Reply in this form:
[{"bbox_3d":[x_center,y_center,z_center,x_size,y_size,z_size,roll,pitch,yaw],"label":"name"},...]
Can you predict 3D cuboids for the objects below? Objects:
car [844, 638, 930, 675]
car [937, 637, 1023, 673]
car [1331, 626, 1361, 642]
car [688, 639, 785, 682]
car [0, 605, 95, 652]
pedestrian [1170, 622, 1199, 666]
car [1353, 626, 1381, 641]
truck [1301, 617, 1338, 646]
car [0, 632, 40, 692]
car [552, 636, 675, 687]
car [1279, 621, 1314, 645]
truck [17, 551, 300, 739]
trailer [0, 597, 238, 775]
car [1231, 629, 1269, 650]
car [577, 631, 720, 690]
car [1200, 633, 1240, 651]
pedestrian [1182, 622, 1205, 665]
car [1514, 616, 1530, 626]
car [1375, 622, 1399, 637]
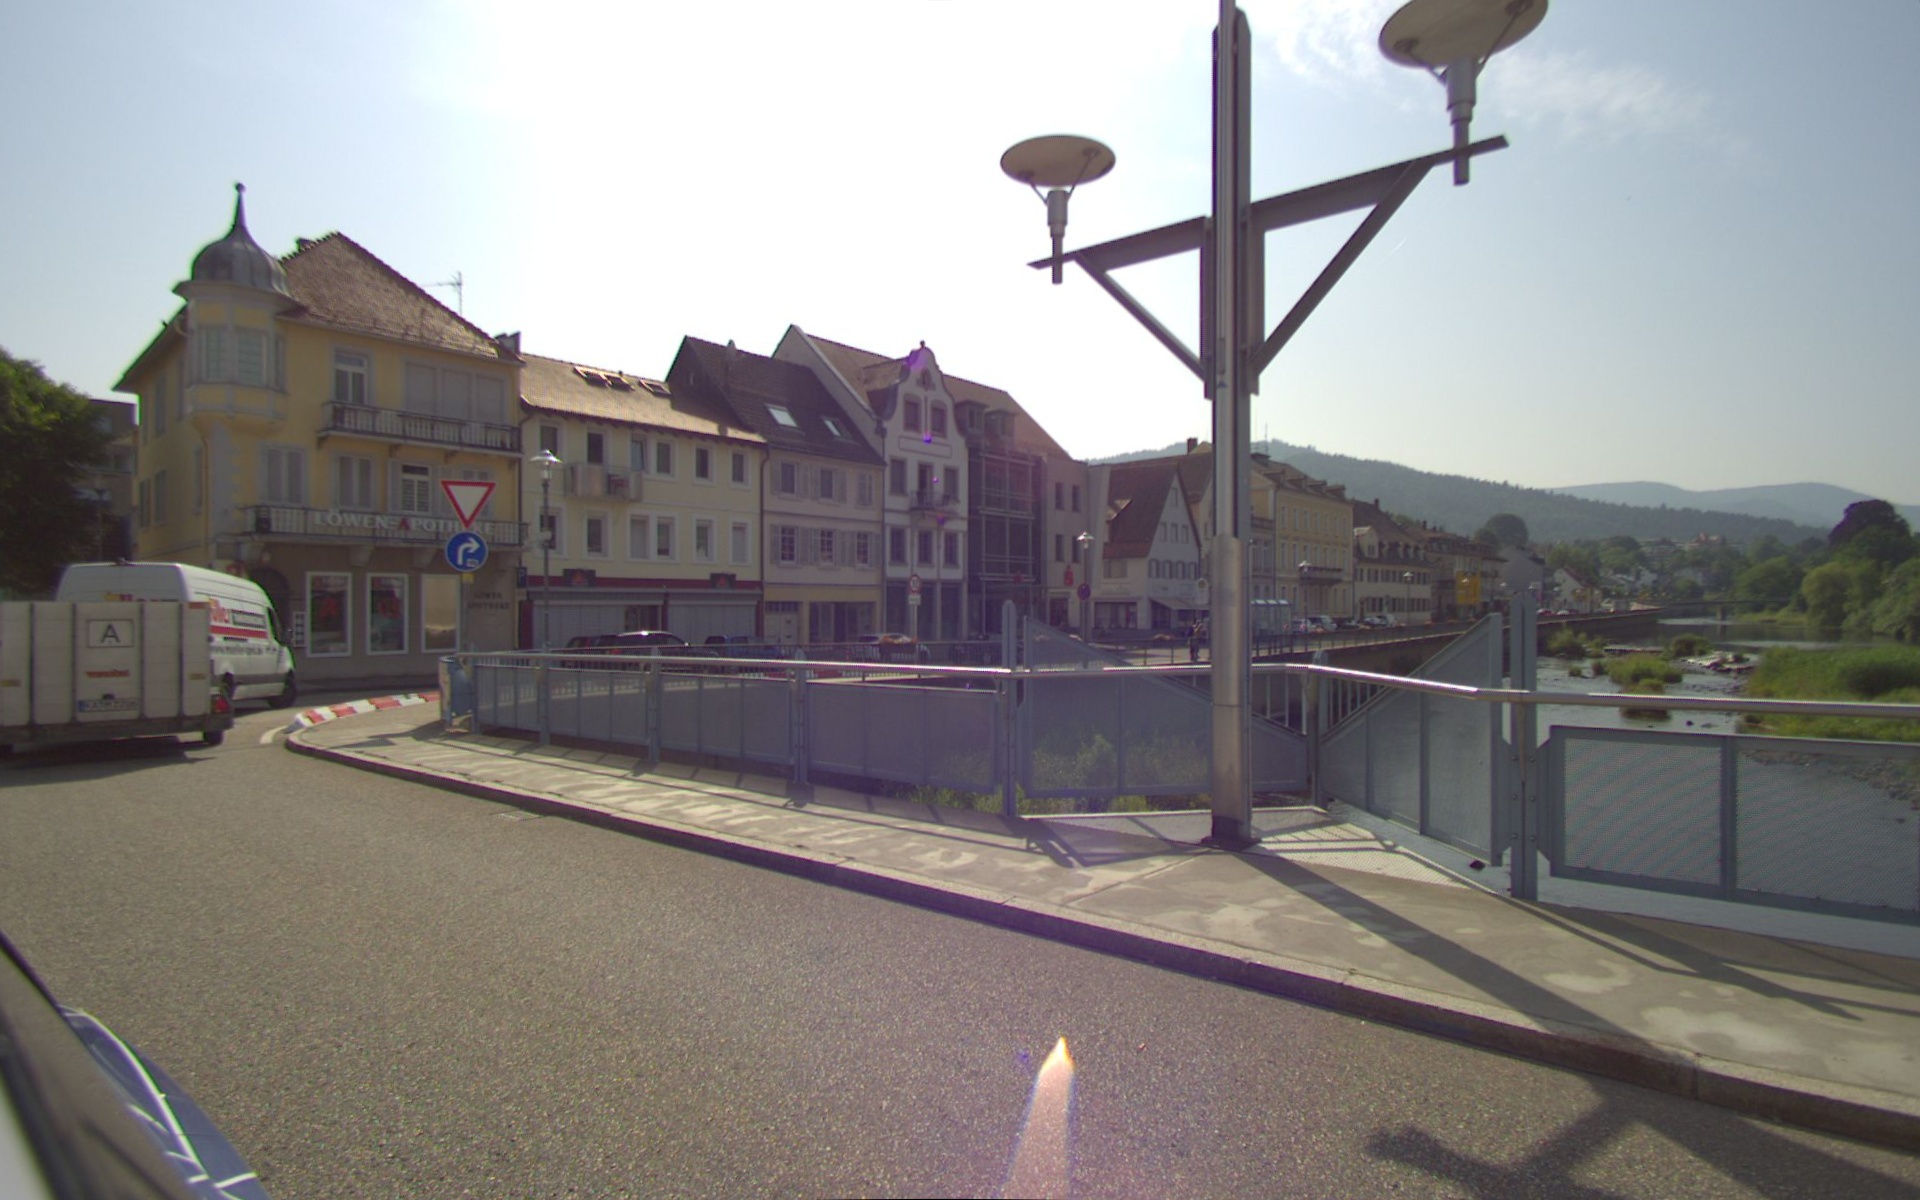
[{"bbox_3d":[-3.194,2.468,44.775,1.750,1.459,3.746,-2,-2,37],"label":"car"},{"bbox_3d":[0.937,2.443,45.219,1.753,1.367,4.148,-3,-1,37],"label":"car"},{"bbox_3d":[36.141,3.158,94.686,1.750,1.459,3.235,-2,-2,37],"label":"car"},{"bbox_3d":[-8.414,2.252,38.254,1.750,1.459,3.235,-2,-2,37],"label":"car"},{"bbox_3d":[-38.904,1.168,41.418,1.995,1.905,5.013,-2,-1,35],"label":"car"},{"bbox_3d":[8.885,1.727,40.008,0.869,1.719,0.766,-1,-1,41],"label":"pedestrian"},{"bbox_3d":[40.024,3.298,99.423,1.750,1.459,3.235,-2,-2,37],"label":"car"},{"bbox_3d":[32.180,2.831,90.583,1.750,2.487,4.602,-2,-2,37],"label":"truck"},{"bbox_3d":[-26.799,1.720,26.447,1.896,1.554,3.959,0,1,0],"label":"car"},{"bbox_3d":[-11.673,2.029,34.217,1.850,1.580,3.523,-2,-2,37],"label":"car"},{"bbox_3d":[28.375,2.806,85.220,1.750,1.950,3.532,-2,-2,37],"label":"car"},{"bbox_3d":[-14.045,0.816,18.396,2.075,2.719,7.156,-1,-3,-22],"label":"truck"},{"bbox_3d":[-11.166,0.985,13.173,2.577,1.841,5.648,0,-2,-39],"label":"trailer"},{"bbox_3d":[22.146,3.000,77.213,1.750,1.459,3.235,-2,-2,37],"label":"car"},{"bbox_3d":[-9.495,1.806,31.080,1.682,1.572,3.919,-2,-1,39],"label":"car"},{"bbox_3d":[18.616,2.996,72.392,1.566,1.229,3.235,-2,-2,37],"label":"car"},{"bbox_3d":[9.335,1.726,40.468,0.791,1.719,0.485,-1,-1,41],"label":"pedestrian"},{"bbox_3d":[80.130,2.982,144.274,1.516,1.459,3.235,-2,-2,37],"label":"car"},{"bbox_3d":[44.363,3.044,105.162,1.516,1.459,3.235,-2,-2,37],"label":"car"}]
